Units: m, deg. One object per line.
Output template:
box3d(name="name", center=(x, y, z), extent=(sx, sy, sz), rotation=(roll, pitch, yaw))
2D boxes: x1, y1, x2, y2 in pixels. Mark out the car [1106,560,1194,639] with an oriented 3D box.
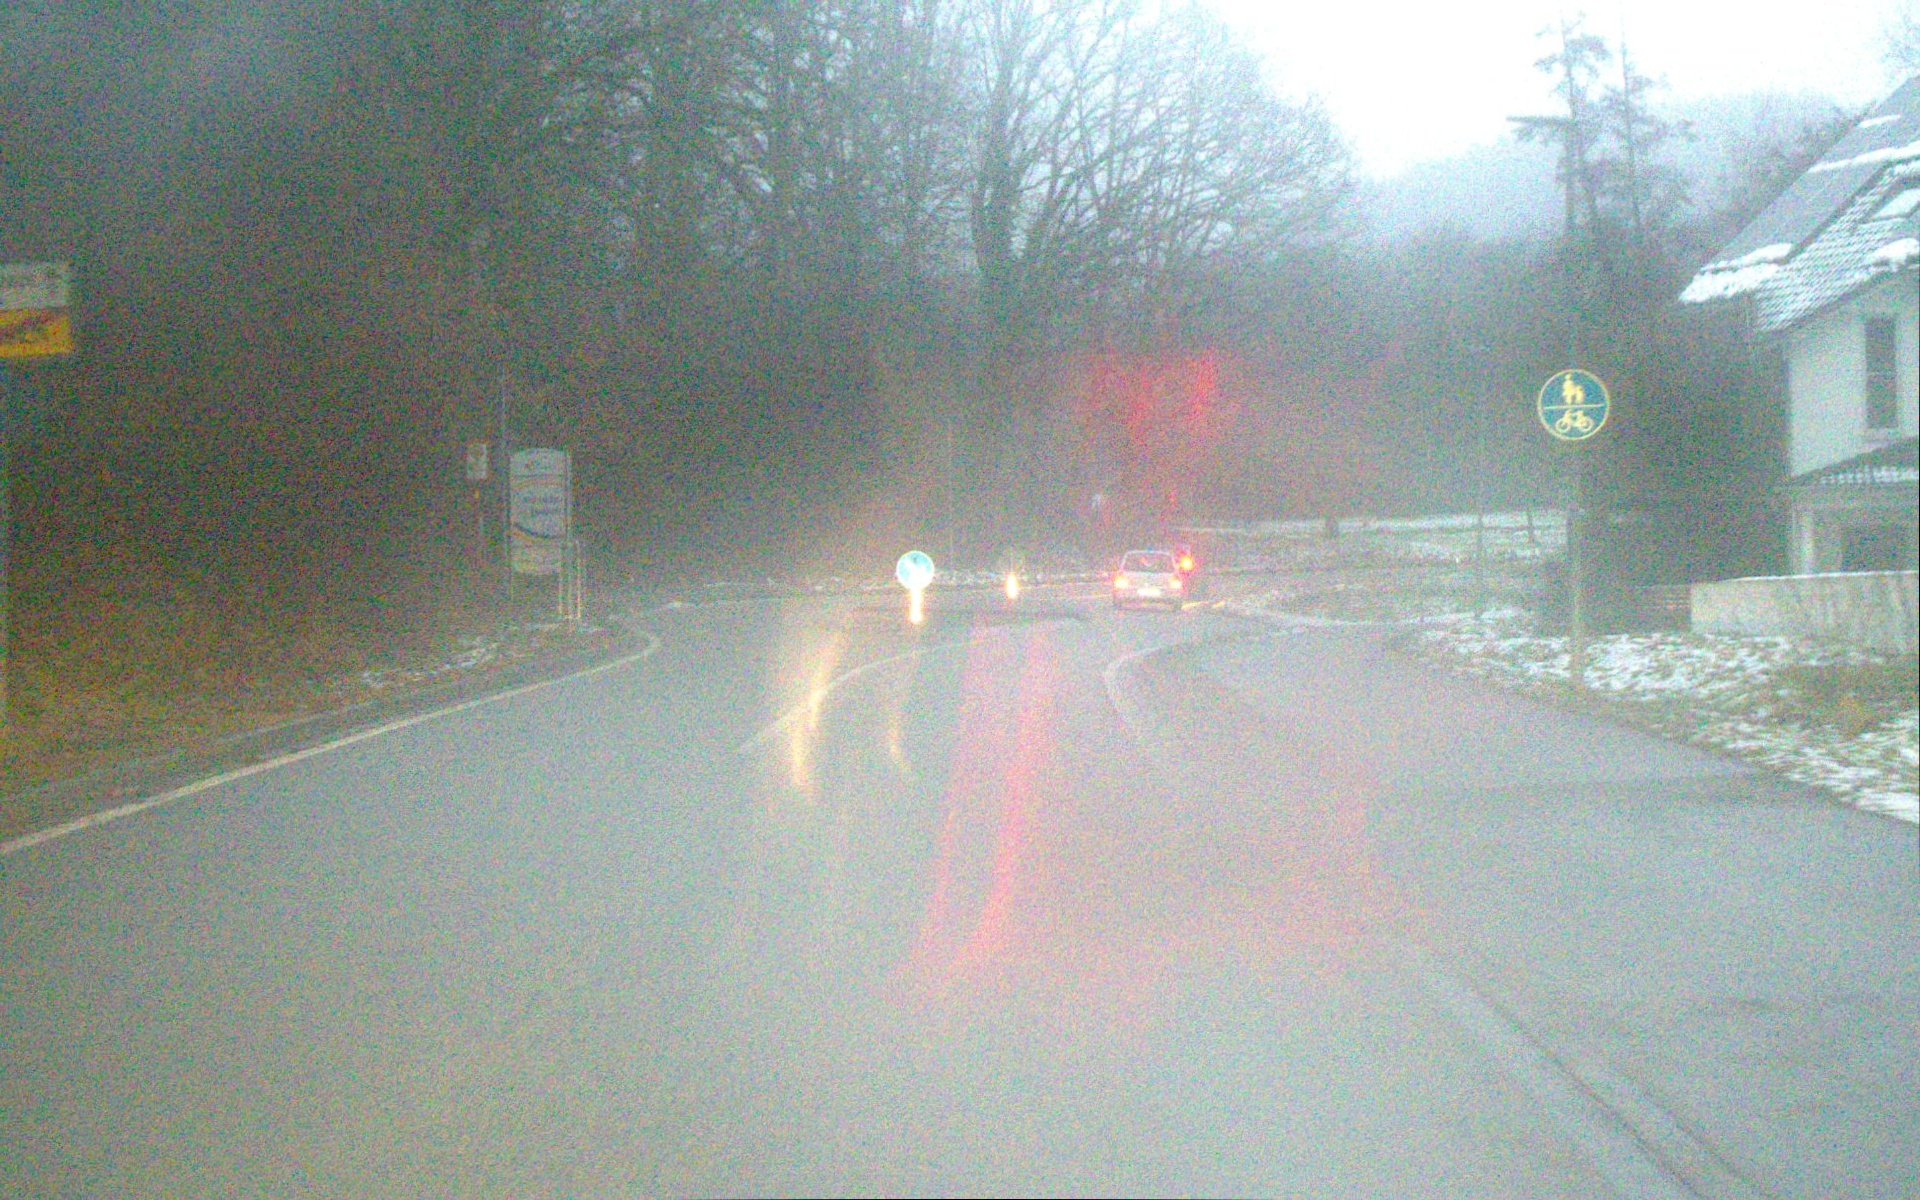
box3d(name="car", center=(4.483, -0.040, 80.836), extent=(1.933, 1.775, 3.999), rotation=(0, 1, 5))
